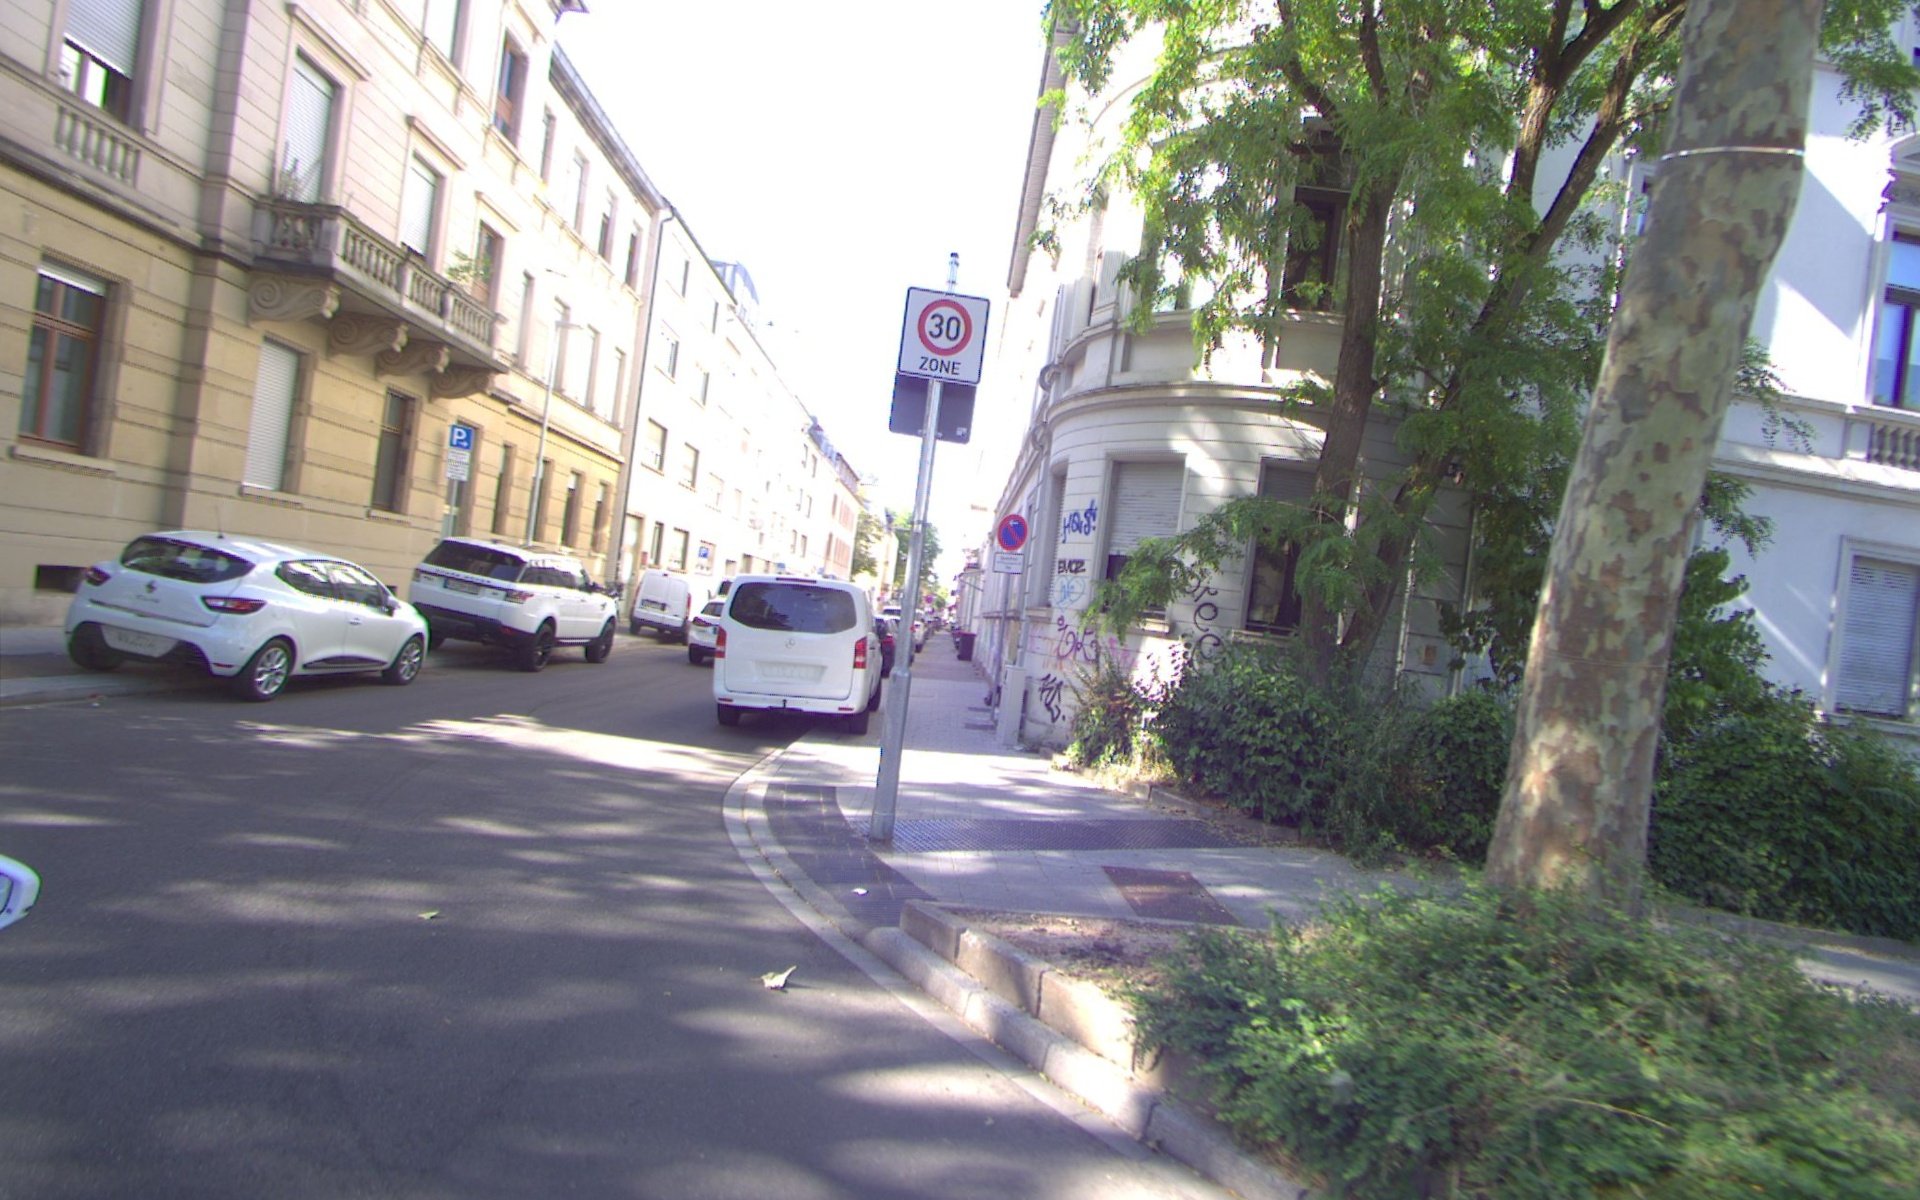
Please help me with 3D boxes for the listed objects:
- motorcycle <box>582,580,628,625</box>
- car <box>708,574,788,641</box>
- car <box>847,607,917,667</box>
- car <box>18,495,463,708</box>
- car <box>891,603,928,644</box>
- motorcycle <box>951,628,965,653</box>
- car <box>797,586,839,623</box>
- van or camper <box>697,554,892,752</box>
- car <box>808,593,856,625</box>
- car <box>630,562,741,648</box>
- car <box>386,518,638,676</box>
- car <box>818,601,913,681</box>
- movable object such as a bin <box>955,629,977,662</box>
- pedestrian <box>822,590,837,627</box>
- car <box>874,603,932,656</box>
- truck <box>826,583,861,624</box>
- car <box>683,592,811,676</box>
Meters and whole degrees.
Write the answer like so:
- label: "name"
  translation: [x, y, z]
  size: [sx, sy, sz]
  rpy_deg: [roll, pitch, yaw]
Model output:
- label: "motorcycle"
  translation: [-10.322, 0.088, 29.310]
  size: [0.420, 1.214, 2.143]
  rpy_deg: [7, 0, 1]
- label: "car"
  translation: [-7.666, 0.267, 36.851]
  size: [1.867, 1.981, 4.779]
  rpy_deg: [9, -1, -3]
- label: "car"
  translation: [-2.340, 1.083, 31.134]
  size: [1.721, 1.465, 3.869]
  rpy_deg: [9, -1, -1]
- label: "car"
  translation: [-7.268, 0.069, 10.784]
  size: [1.840, 1.578, 3.942]
  rpy_deg: [9, -2, -2]
- label: "car"
  translation: [-2.823, 1.328, 57.150]
  size: [1.755, 1.984, 4.336]
  rpy_deg: [7, -1, -2]
- label: "motorcycle"
  translation: [-0.088, 1.850, 46.491]
  size: [0.473, 1.059, 1.691]
  rpy_deg: [7, -1, -1]
- label: "car"
  translation: [-8.233, 0.266, 58.786]
  size: [1.853, 1.775, 4.540]
  rpy_deg: [11, -1, -4]
- label: "van or camper"
  translation: [-2.057, 0.630, 14.034]
  size: [1.866, 2.038, 5.029]
  rpy_deg: [7, -1, -2]
- label: "car"
  translation: [-8.448, 0.642, 67.052]
  size: [2.405, 1.726, 5.243]
  rpy_deg: [8, -1, -1]
- label: "car"
  translation: [-7.480, 0.143, 27.842]
  size: [1.719, 1.897, 4.089]
  rpy_deg: [11, 0, -1]
- label: "car"
  translation: [-7.190, 0.003, 16.790]
  size: [1.991, 2.037, 4.544]
  rpy_deg: [7, -1, -1]
- label: "car"
  translation: [-2.265, 0.958, 25.211]
  size: [1.788, 1.537, 4.727]
  rpy_deg: [9, -1, -1]
- label: "movable object such as a bin"
  translation: [0.219, 1.716, 37.616]
  size: [0.642, 1.158, 0.463]
  rpy_deg: [7, -1, 6]
- label: "pedestrian"
  translation: [-8.435, 0.554, 65.143]
  size: [0.609, 2.254, 0.688]
  rpy_deg: [7, -1, -1]
- label: "car"
  translation: [-2.293, 1.188, 41.801]
  size: [1.975, 1.805, 4.938]
  rpy_deg: [7, 0, -1]
- label: "truck"
  translation: [-8.621, 0.329, 74.919]
  size: [2.126, 2.620, 6.249]
  rpy_deg: [7, -2, -5]
- label: "car"
  translation: [-4.576, 0.709, 22.191]
  size: [1.805, 1.504, 4.057]
  rpy_deg: [6, -1, 0]
